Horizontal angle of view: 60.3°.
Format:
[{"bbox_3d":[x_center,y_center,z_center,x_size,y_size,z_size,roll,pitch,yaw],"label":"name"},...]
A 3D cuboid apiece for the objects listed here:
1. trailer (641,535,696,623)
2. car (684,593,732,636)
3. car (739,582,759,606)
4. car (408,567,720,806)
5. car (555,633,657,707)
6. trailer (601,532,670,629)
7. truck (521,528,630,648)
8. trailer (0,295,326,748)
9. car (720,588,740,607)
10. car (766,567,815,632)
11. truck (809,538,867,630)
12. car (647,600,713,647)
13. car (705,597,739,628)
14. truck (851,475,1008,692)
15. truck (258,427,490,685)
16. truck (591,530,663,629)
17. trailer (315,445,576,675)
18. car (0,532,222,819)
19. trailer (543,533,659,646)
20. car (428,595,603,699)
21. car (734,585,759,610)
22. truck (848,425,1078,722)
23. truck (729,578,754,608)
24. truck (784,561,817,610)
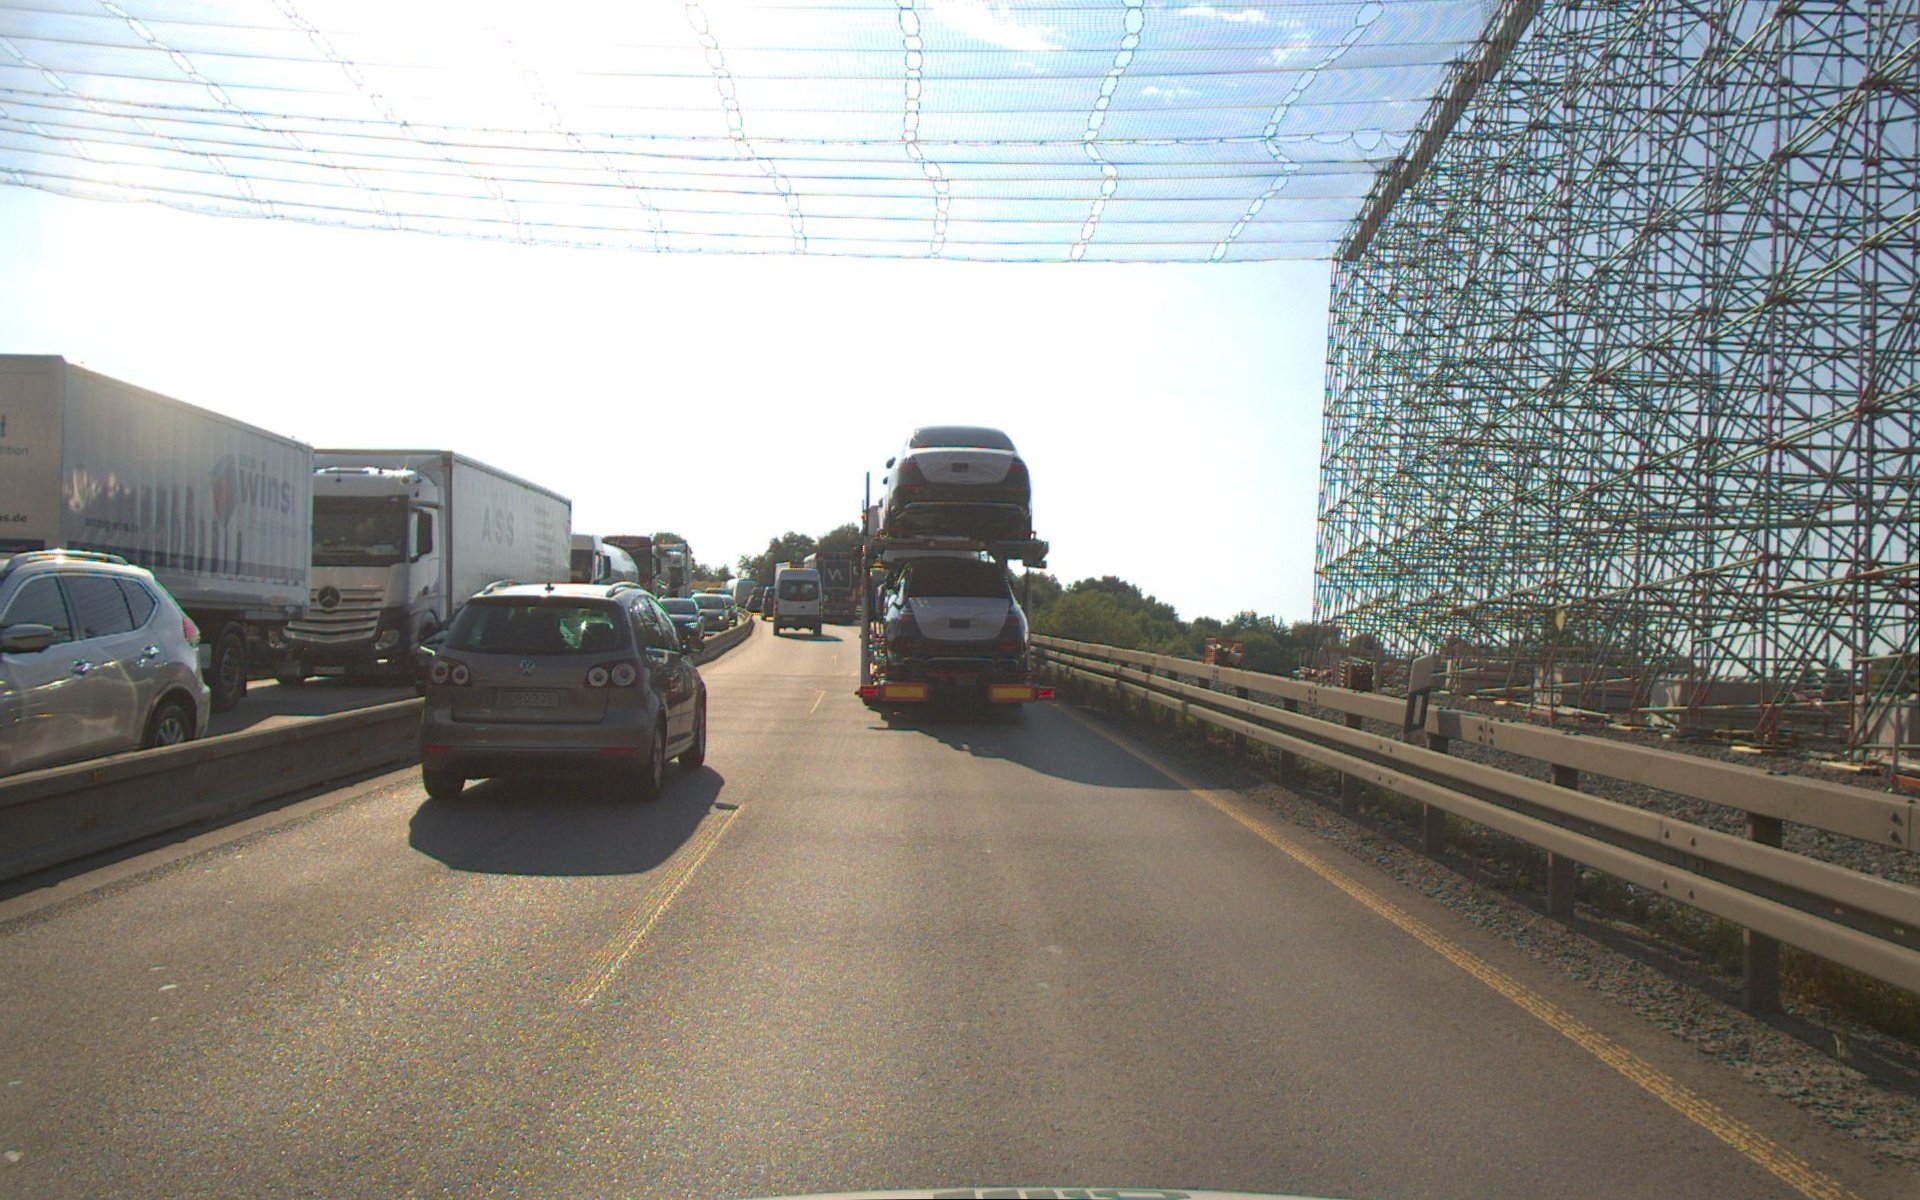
[{"bbox_3d":[-15.478,-1.043,88.308,2.429,4.404,10.491,1,0,-8],"label":"trailer"},{"bbox_3d":[-9.940,0.568,65.366,1.717,1.614,3.937,1,0,-7],"label":"car"},{"bbox_3d":[-18.311,-0.500,143.371,1.599,2.049,3.992,1,0,-9],"label":"car"},{"bbox_3d":[-3.030,0.610,13.452,1.657,1.624,3.998,1,0,-2],"label":"car"},{"bbox_3d":[-7.522,1.459,35.422,1.576,1.400,3.897,1,0,-4],"label":"car"},{"bbox_3d":[-14.167,-0.773,72.872,2.264,3.856,12.029,1,0,-8],"label":"trailer"},{"bbox_3d":[-11.624,-0.337,50.405,2.366,3.429,5.612,1,0,-5],"label":"truck"},{"bbox_3d":[-10.120,-0.718,17.187,2.617,4.086,13.323,1,0,-4],"label":"trailer"},{"bbox_3d":[-23.404,-0.272,168.276,1.802,1.868,3.995,1,0,-6],"label":"car"},{"bbox_3d":[-6.940,-0.019,68.016,1.883,2.536,5.402,1,0,-5],"label":"car"},{"bbox_3d":[-7.585,-0.924,101.362,3.222,5.328,9.923,1,0,-6],"label":"truck"},{"bbox_3d":[-9.097,0.740,53.922,1.759,1.422,4.239,1,0,-5],"label":"car"},{"bbox_3d":[-11.647,0.609,81.082,1.597,1.451,4.380,1,0,-7],"label":"car"},{"bbox_3d":[-0.841,-0.274,34.819,2.782,3.858,9.979,1,0,-3],"label":"truck"},{"bbox_3d":[-10.217,-0.689,29.425,2.425,4.116,5.612,1,0,-4],"label":"truck"},{"bbox_3d":[-13.495,-0.789,67.369,2.386,3.851,5.608,1,0,-7],"label":"truck"},{"bbox_3d":[-10.762,-0.681,36.436,2.380,4.032,14.084,1,0,-5],"label":"trailer"},{"bbox_3d":[-6.256,0.407,10.014,1.772,1.595,4.363,1,0,-3],"label":"car"},{"bbox_3d":[-12.143,-0.300,56.879,2.262,3.420,12.040,1,0,-5],"label":"trailer"},{"bbox_3d":[-6.882,0.688,26.096,1.742,1.475,4.660,1,0,-4],"label":"car"},{"bbox_3d":[-16.122,-0.196,124.973,1.791,1.803,3.994,1,0,-7],"label":"car"},{"bbox_3d":[-0.269,-0.297,25.379,2.743,3.558,10.597,1,0,-3],"label":"truck"},{"bbox_3d":[-24.554,-0.743,185.386,2.543,3.226,6.662,1,0,-9],"label":"truck"},{"bbox_3d":[-12.817,-1.099,132.437,2.482,3.712,8.892,1,0,-6],"label":"truck"}]
